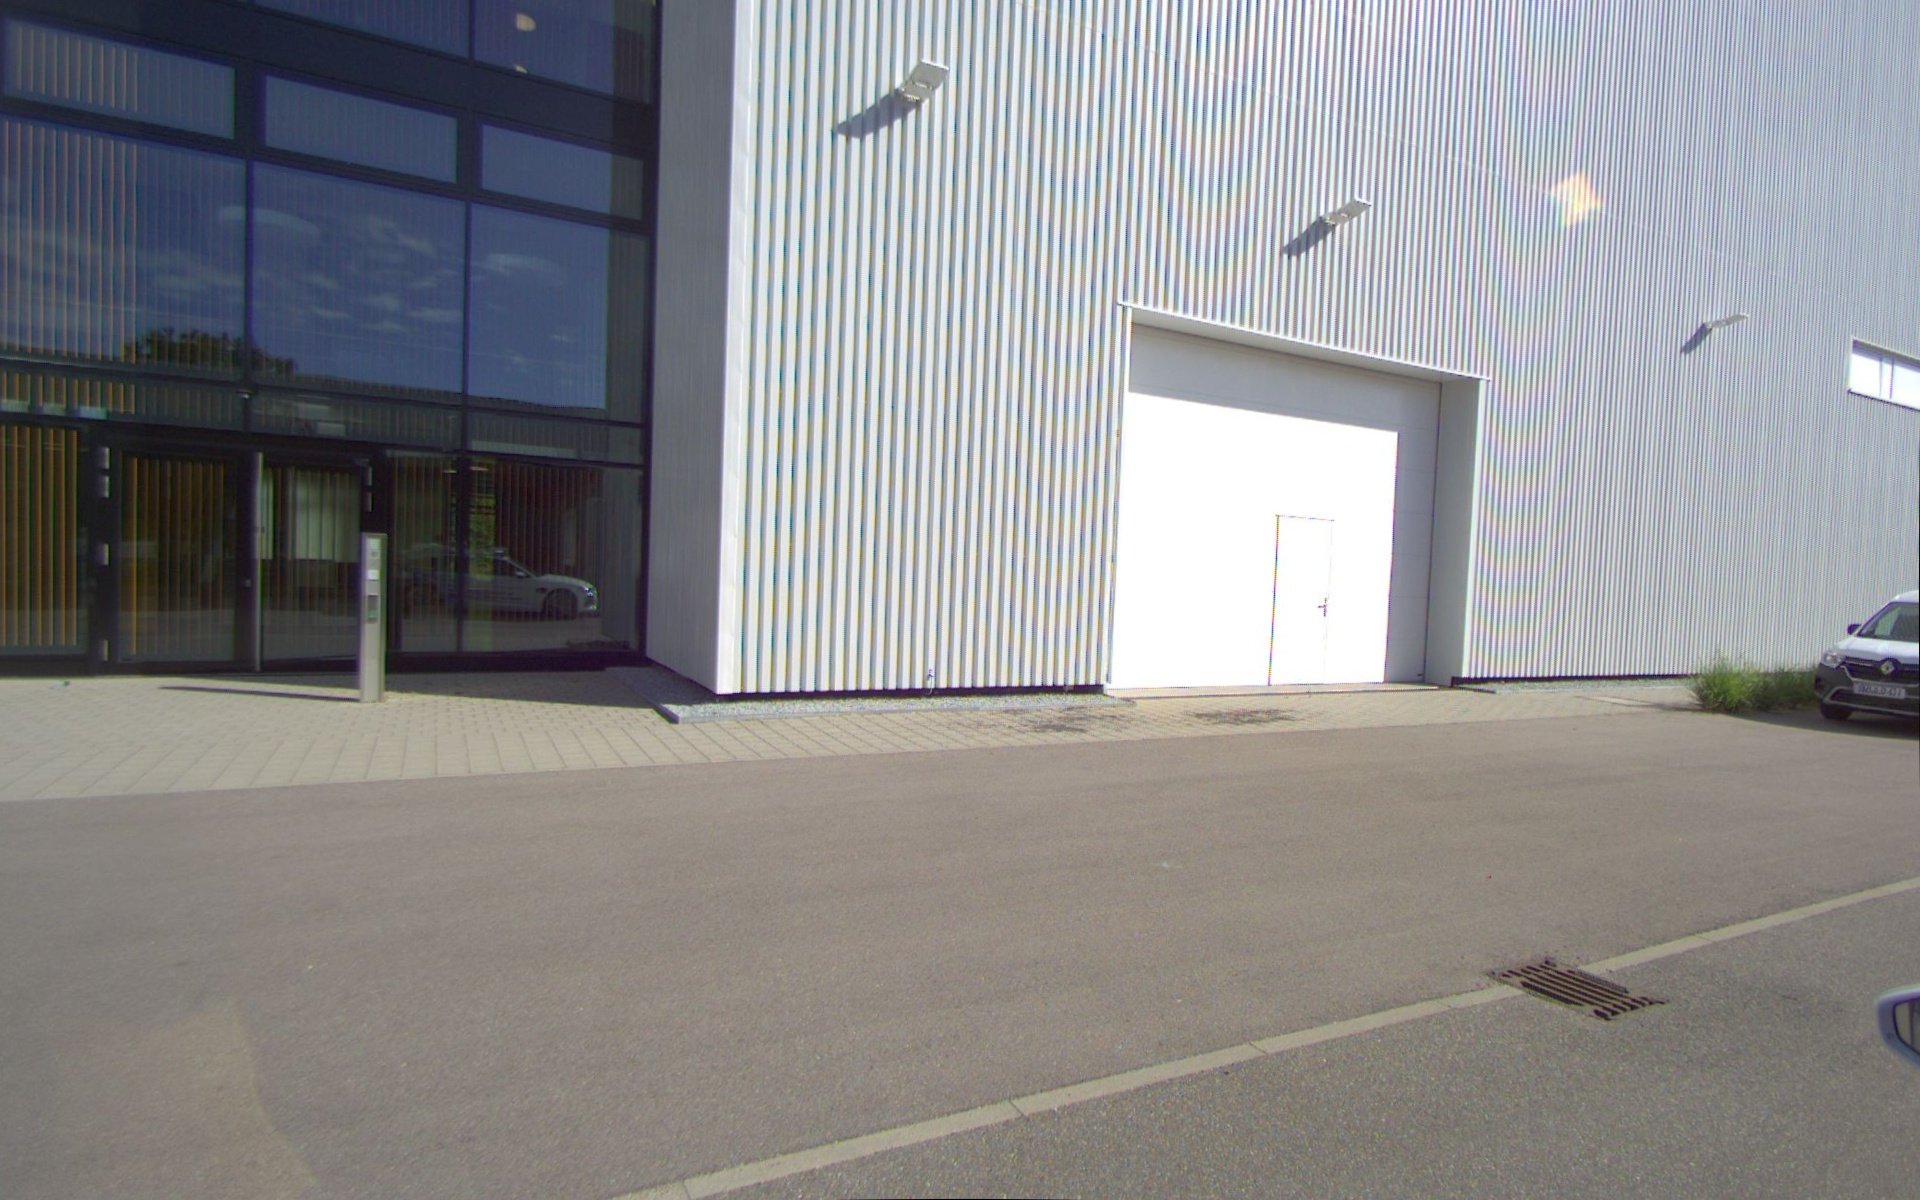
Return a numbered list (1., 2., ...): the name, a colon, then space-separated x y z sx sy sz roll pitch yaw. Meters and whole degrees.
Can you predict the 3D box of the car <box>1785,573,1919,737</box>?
1. car: 13.073 0.707 13.208 4.305 1.870 1.882 1 4 -29
